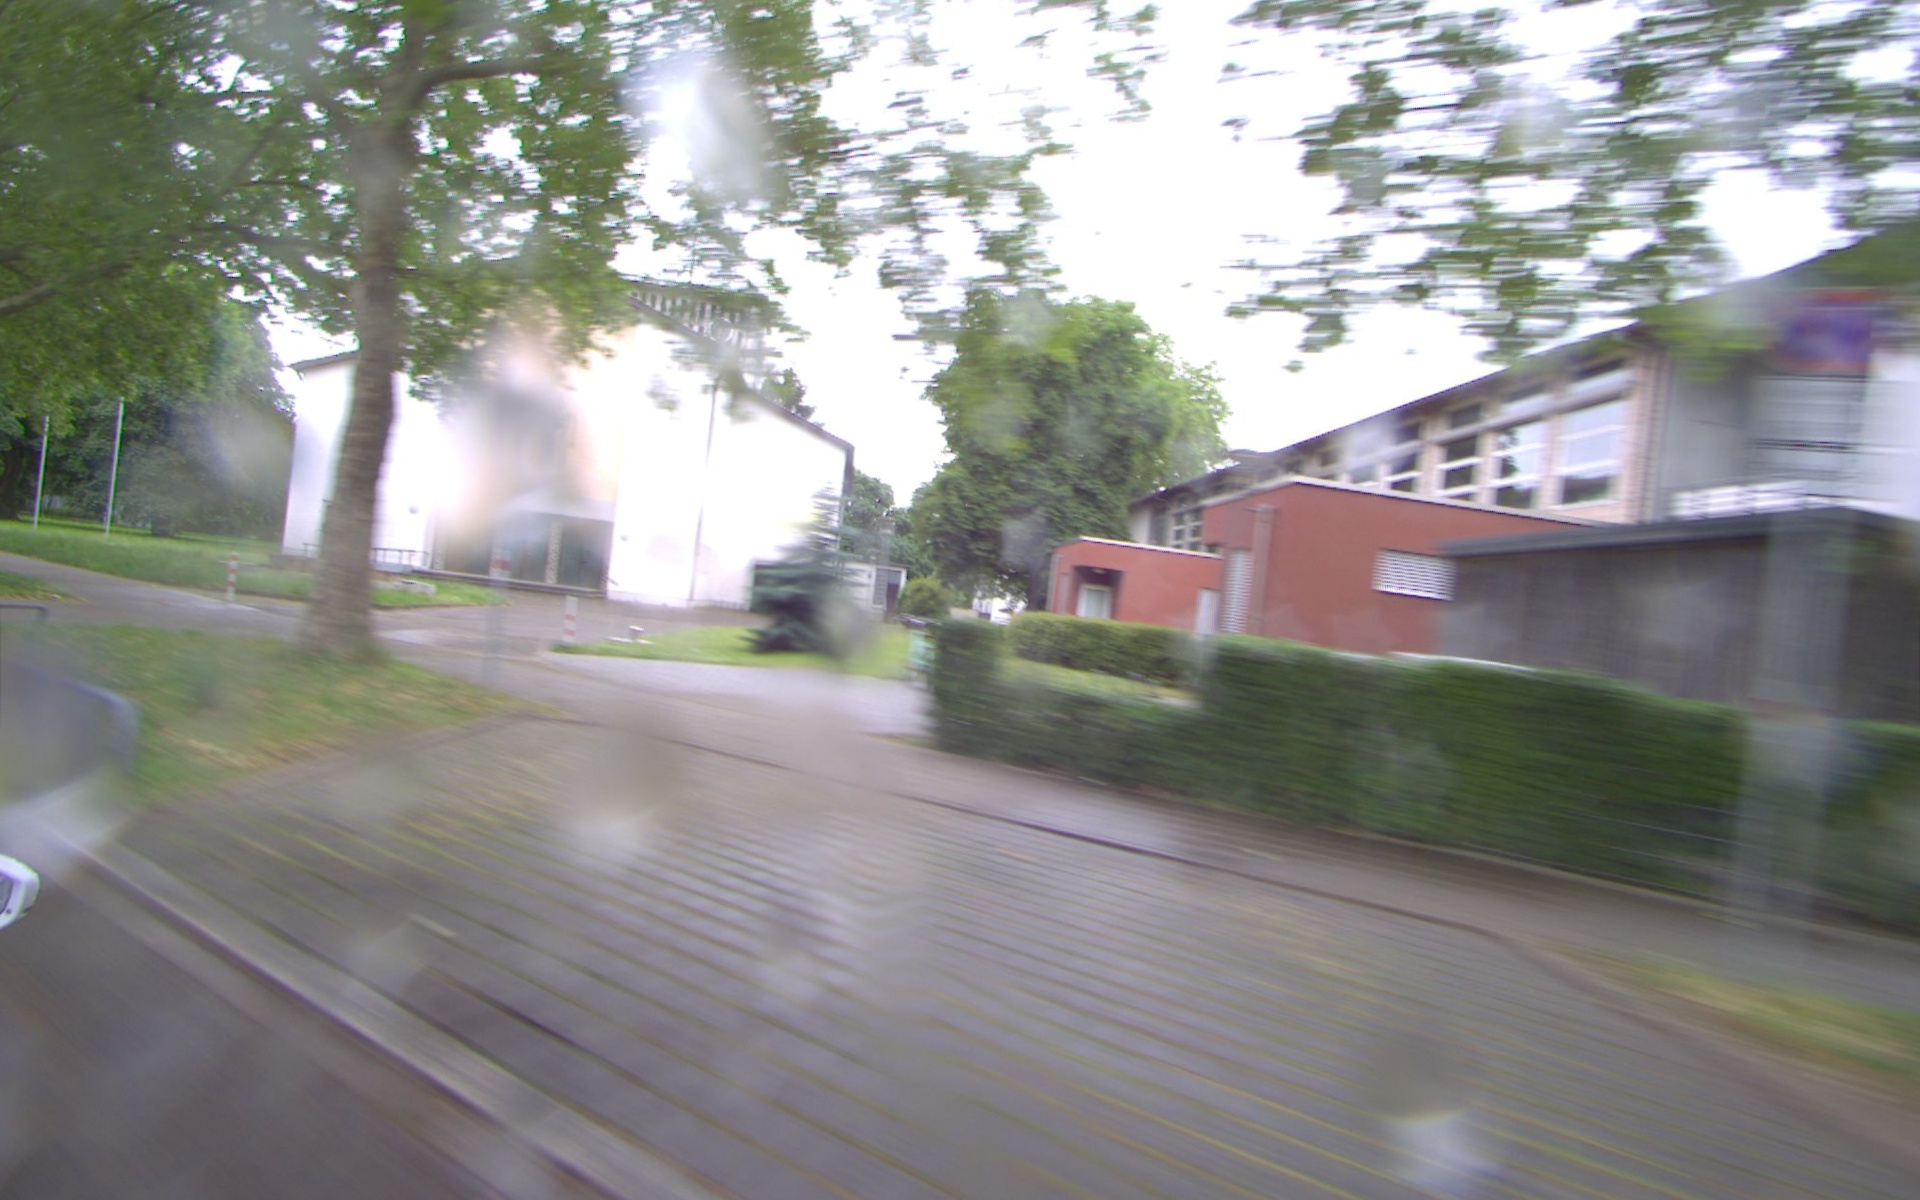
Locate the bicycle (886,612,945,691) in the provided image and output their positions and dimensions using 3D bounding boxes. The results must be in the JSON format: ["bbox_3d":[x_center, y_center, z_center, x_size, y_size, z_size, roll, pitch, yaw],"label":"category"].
[{"bbox_3d":[-0.776,0.828,16.844,0.457,1.105,2.038,5,1,-15],"label":"bicycle"}]
